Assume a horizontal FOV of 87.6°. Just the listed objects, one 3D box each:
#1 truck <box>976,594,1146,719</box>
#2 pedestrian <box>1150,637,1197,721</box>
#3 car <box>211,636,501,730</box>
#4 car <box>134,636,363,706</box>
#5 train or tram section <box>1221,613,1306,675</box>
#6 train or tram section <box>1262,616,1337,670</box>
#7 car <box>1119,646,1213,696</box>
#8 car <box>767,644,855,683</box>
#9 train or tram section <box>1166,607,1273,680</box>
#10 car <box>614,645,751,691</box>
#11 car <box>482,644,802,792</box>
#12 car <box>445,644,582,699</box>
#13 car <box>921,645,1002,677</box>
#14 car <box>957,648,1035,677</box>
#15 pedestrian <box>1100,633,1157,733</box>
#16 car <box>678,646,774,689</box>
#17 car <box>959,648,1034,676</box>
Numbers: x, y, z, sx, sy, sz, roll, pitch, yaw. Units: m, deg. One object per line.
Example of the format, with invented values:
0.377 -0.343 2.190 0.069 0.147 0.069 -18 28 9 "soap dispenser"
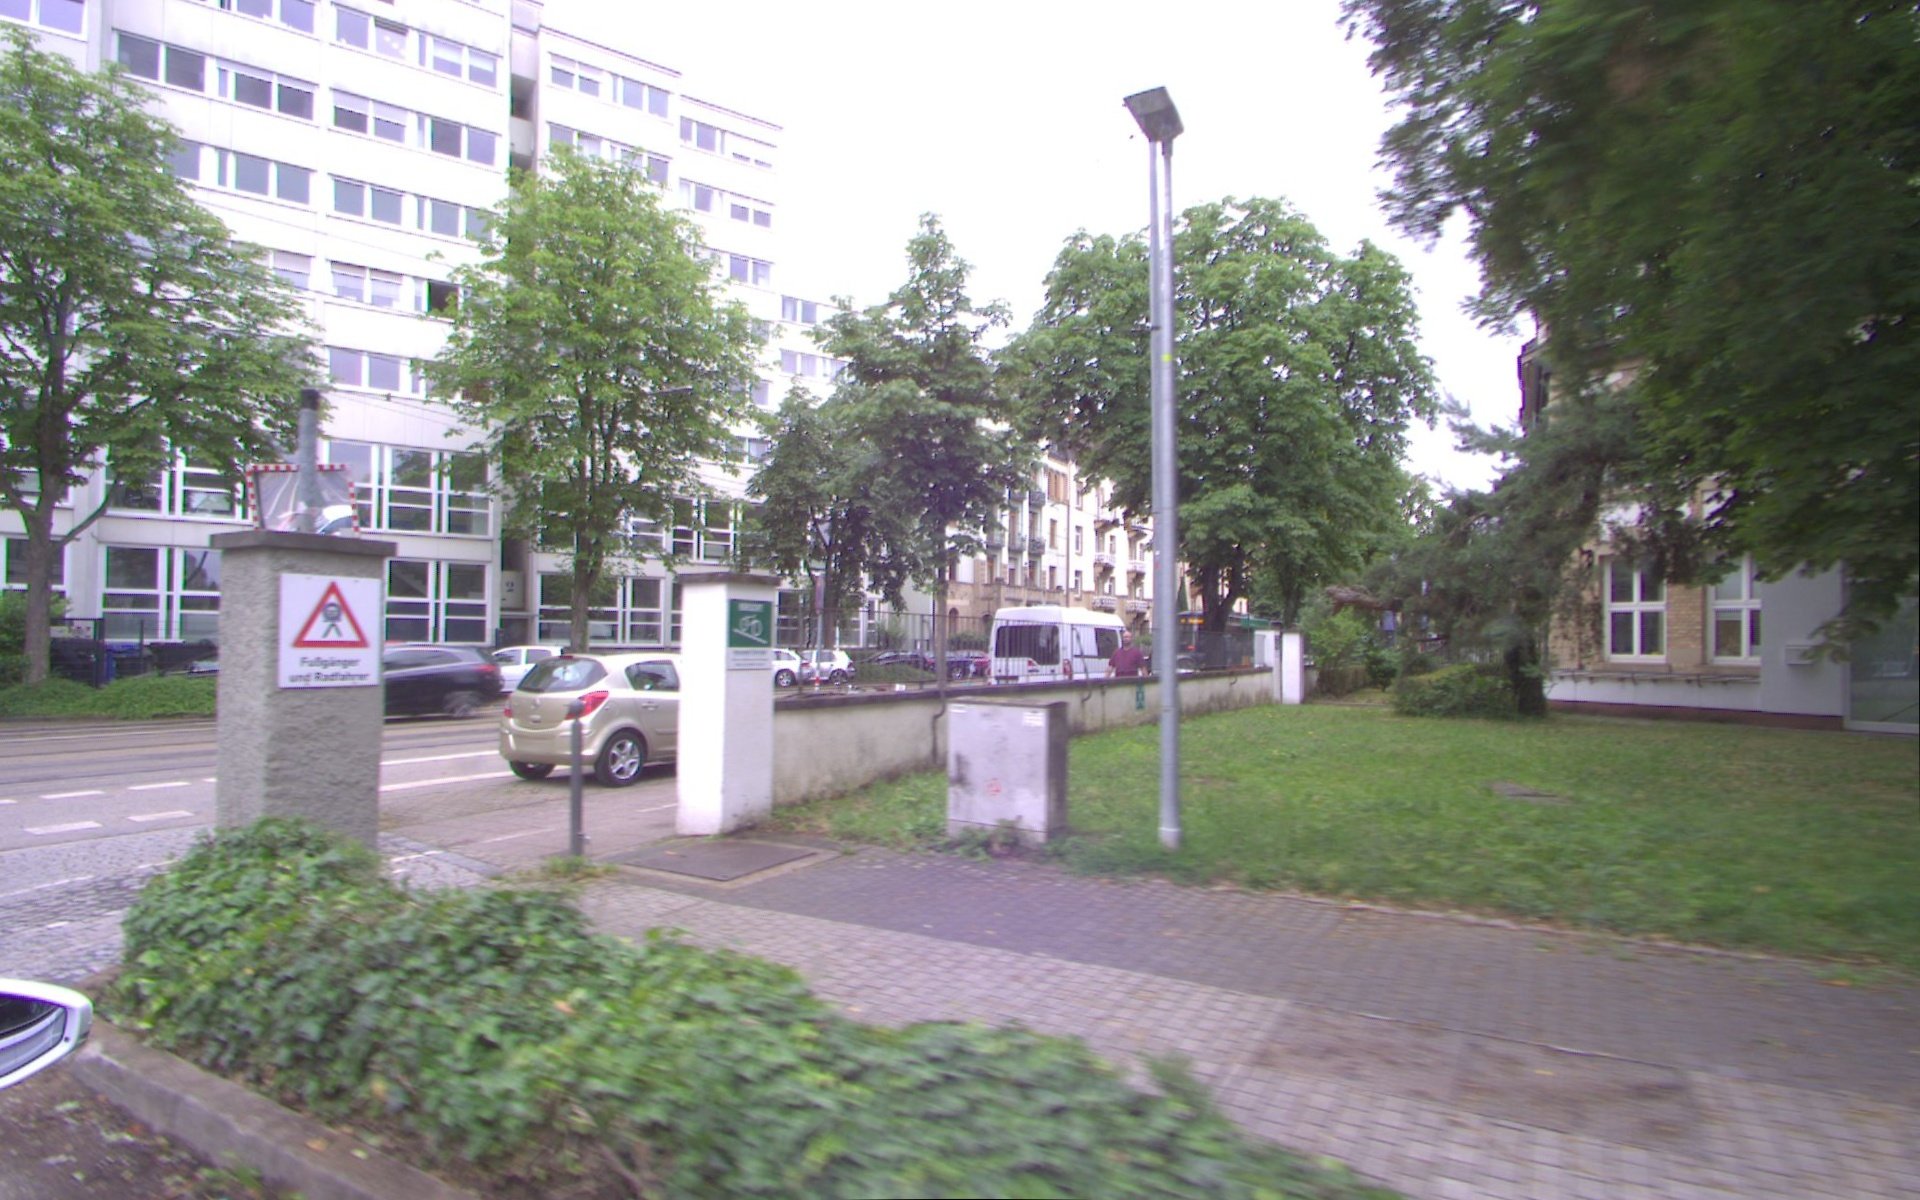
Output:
2.486 1.273 23.306 2.137 2.578 4.908 0 -2 30 "truck"
4.547 1.665 21.275 0.789 1.740 0.953 -1 -2 24 "pedestrian"
-10.957 1.449 18.500 1.796 1.508 4.238 -1 -3 30 "car"
-16.032 1.578 22.778 3.885 1.492 1.671 1 -2 -18 "car"
20.091 2.847 65.551 2.628 3.660 12.406 0 -2 30 "train or tram section"
25.895 3.221 75.669 2.628 3.660 14.710 0 -2 30 "train or tram section"
6.143 2.041 29.545 1.783 1.371 3.799 0 -2 27 "car"
-5.911 2.490 39.696 3.328 1.492 1.415 1 -2 -14 "car"
14.857 2.411 56.323 2.628 3.660 12.406 0 -2 30 "train or tram section"
-9.446 2.322 34.207 4.420 1.491 1.416 1 -4 -18 "car"
-3.749 1.328 12.374 1.641 1.519 3.579 -1 -3 30 "car"
-12.601 1.988 28.448 3.328 1.492 1.415 1 -2 -14 "car"
0.047 2.953 48.459 3.723 1.460 1.692 1 -2 -9 "car"
1.843 3.209 51.410 3.723 1.460 1.692 1 -2 -9 "car"
3.058 1.482 18.119 0.795 1.740 0.953 0 -2 24 "pedestrian"
-8.534 2.457 36.573 3.328 1.492 1.416 1 -2 -14 "car"
1.926 3.310 53.630 3.723 1.460 1.692 1 -2 -9 "car"
